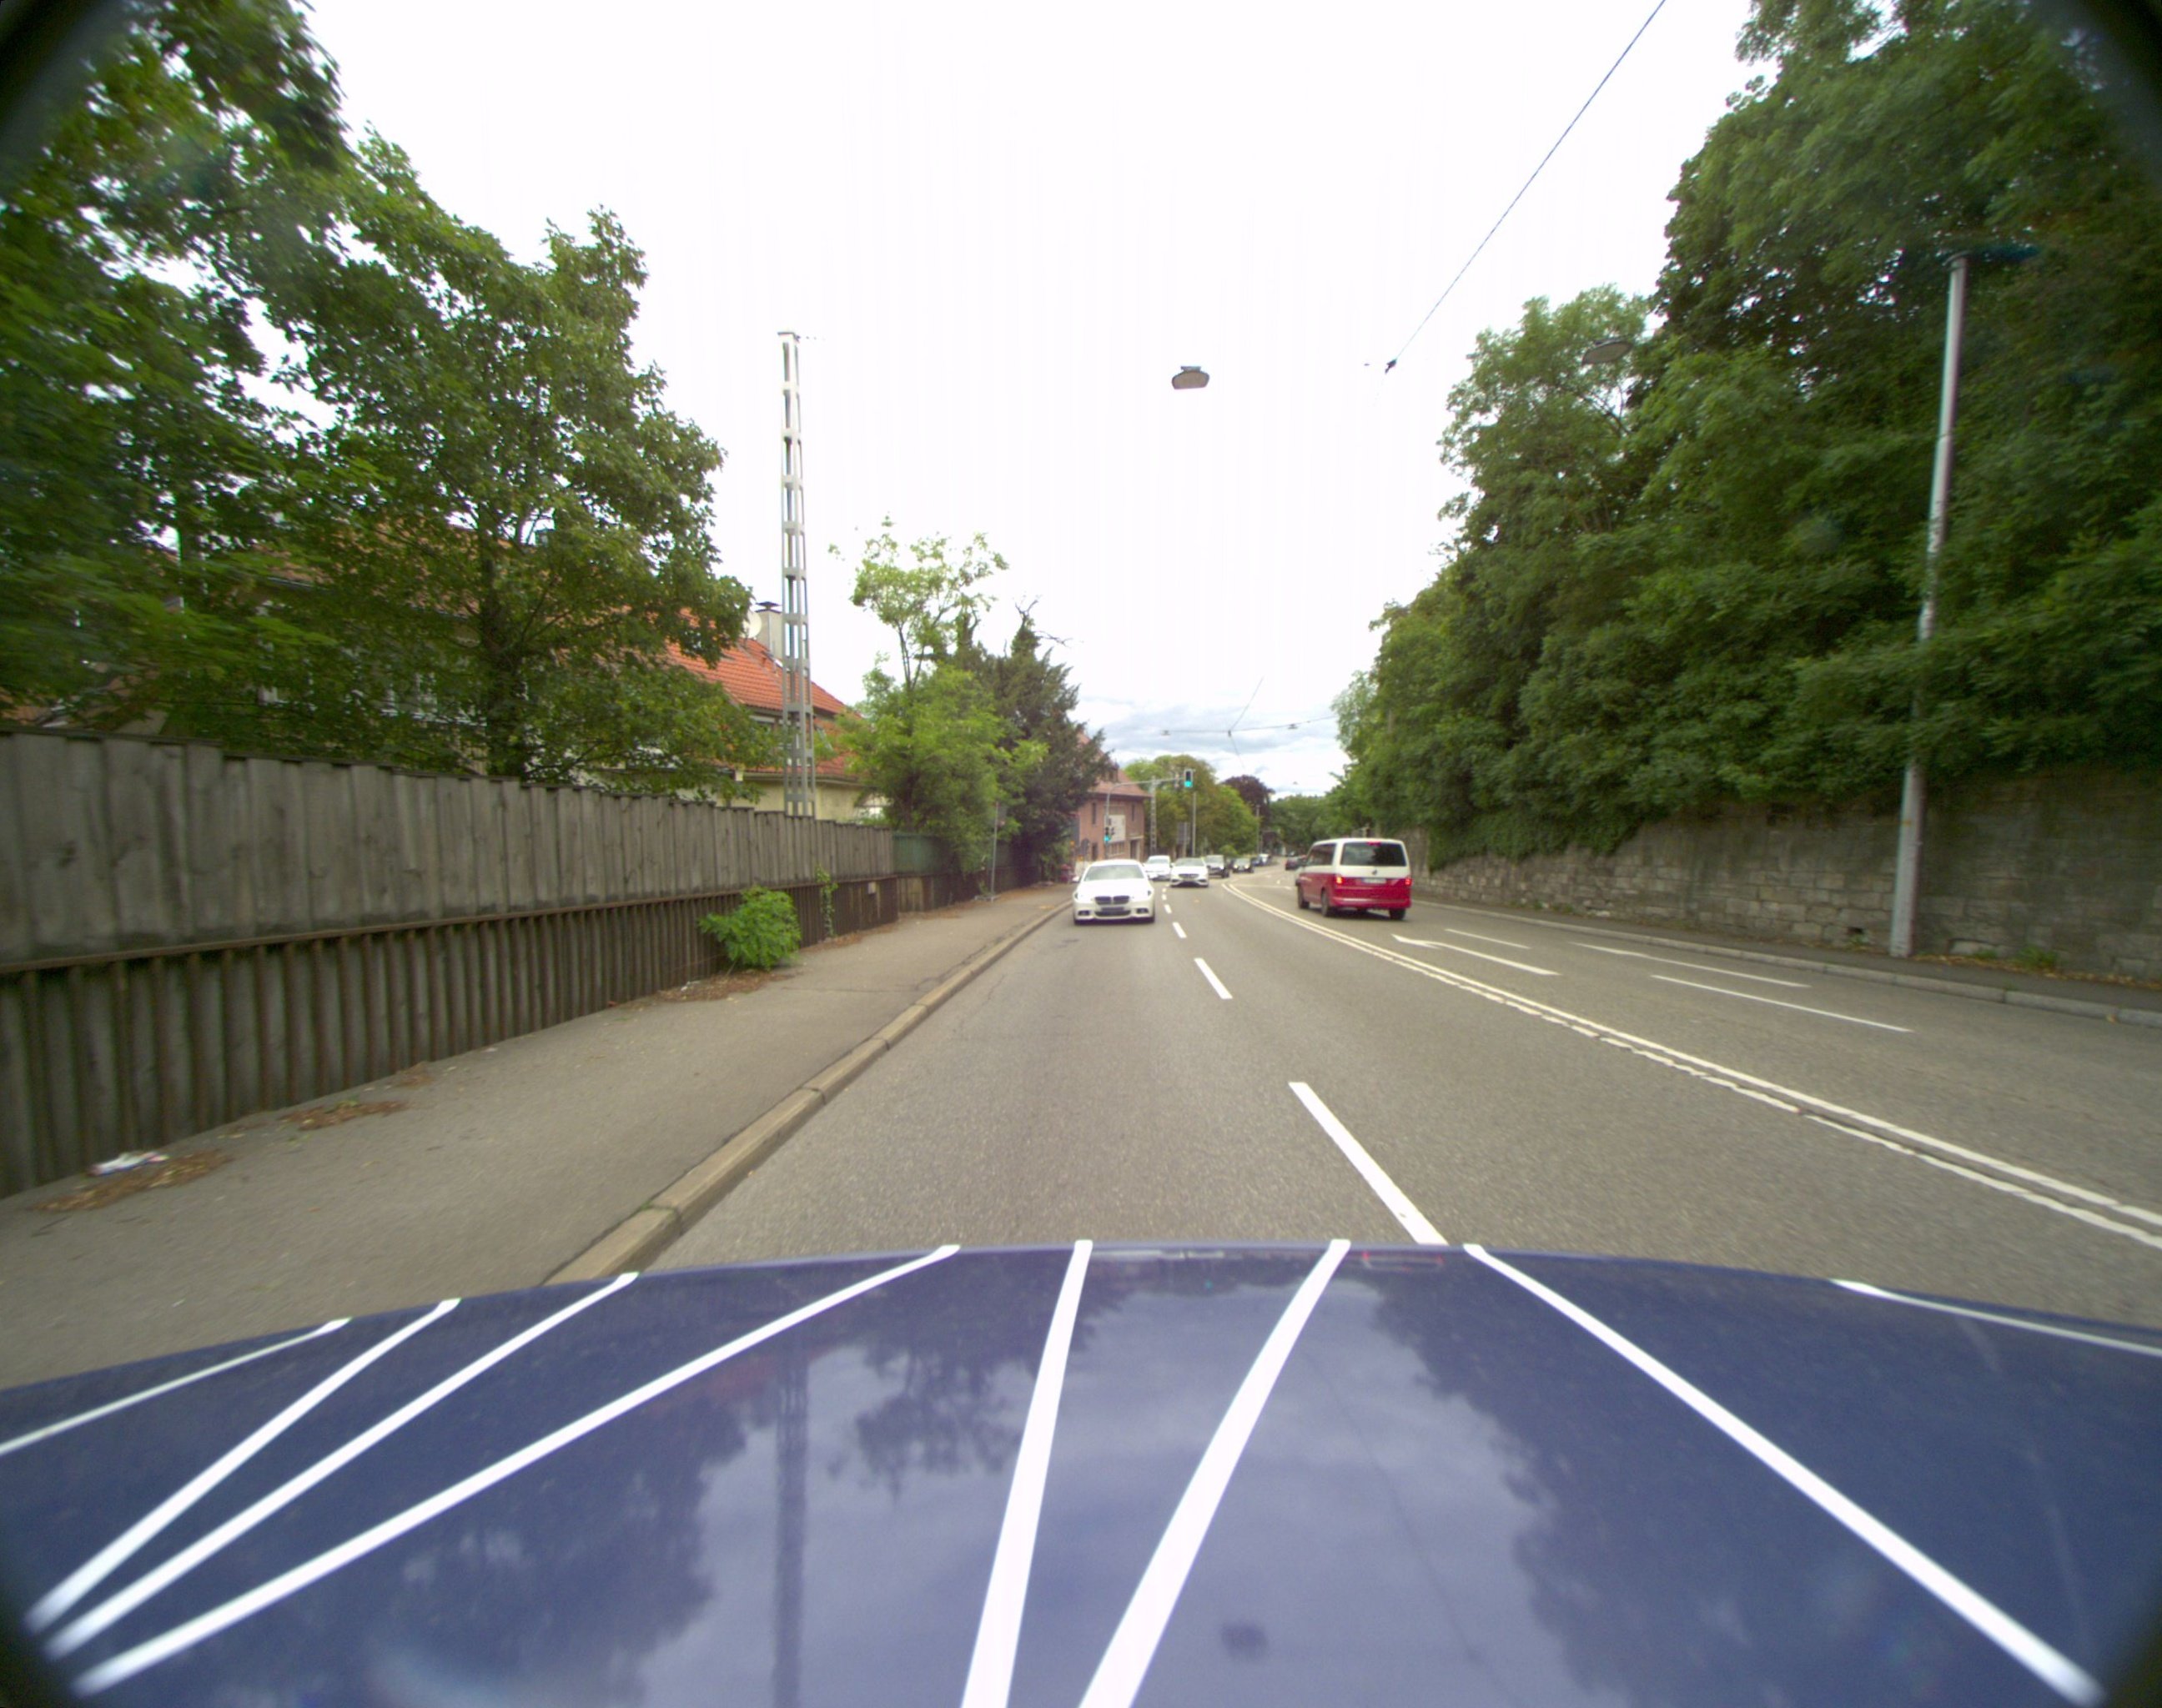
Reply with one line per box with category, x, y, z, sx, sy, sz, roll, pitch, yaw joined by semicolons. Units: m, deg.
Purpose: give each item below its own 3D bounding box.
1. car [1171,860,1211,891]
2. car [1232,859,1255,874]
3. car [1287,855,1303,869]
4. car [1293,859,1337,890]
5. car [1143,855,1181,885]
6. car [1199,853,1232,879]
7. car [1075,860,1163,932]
car;5.429;1.001;37.228;1.801;1.382;3.530;1;0;10
car;15.675;1.164;73.261;1.832;1.369;4.005;1;1;16
car;25.612;0.970;91.054;1.756;1.557;3.684;1;0;15
car;12.601;1.065;41.179;1.785;1.458;4.104;3;1;11
car;5.171;0.967;48.142;1.956;1.761;4.004;1;0;12
car;9.637;0.847;54.227;1.955;1.730;4.005;1;0;15
car;0.894;0.890;18.234;1.822;1.463;4.785;0;0;2
